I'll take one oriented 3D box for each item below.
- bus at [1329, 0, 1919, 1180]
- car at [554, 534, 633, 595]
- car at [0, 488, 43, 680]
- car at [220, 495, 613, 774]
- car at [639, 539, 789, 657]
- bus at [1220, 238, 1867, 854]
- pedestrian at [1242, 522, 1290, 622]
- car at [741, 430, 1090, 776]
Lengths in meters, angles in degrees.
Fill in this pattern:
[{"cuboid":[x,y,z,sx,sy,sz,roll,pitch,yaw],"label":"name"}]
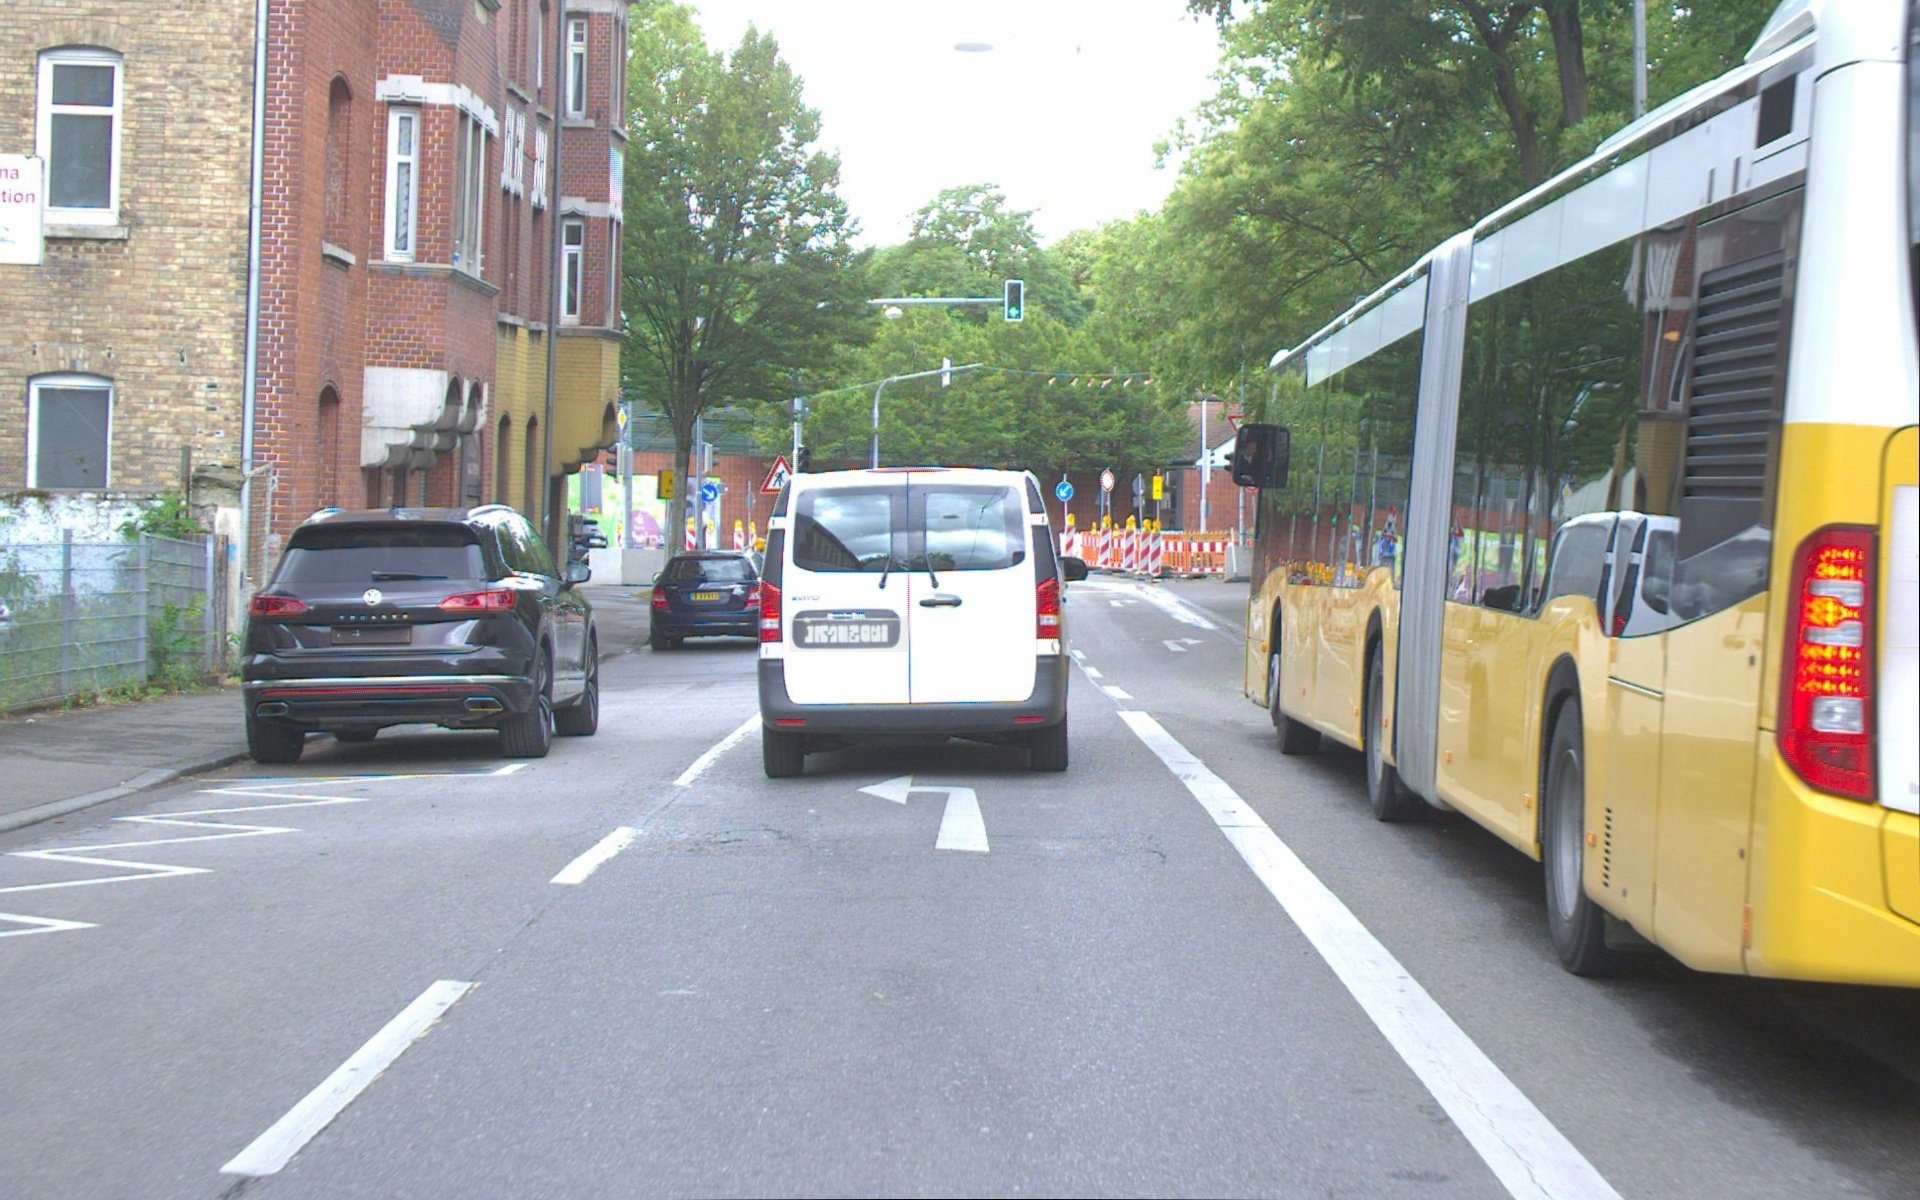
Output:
[{"cuboid":[3.309,-0.215,13.198,2.662,3.125,10.040,3,1,1],"label":"bus"},{"cuboid":[-10.258,-0.999,95.951,2.036,1.480,4.392,1,3,-8],"label":"car"},{"cuboid":[-9.805,-0.124,29.111,3.596,1.606,1.688,-1,1,1],"label":"car"},{"cuboid":[-3.680,0.164,24.144,1.954,1.728,4.774,1,1,0],"label":"car"},{"cuboid":[-3.559,-0.070,50.385,1.725,1.480,4.390,2,3,2],"label":"car"},{"cuboid":[3.433,-0.361,22.801,2.672,3.128,9.218,3,1,1],"label":"bus"},{"cuboid":[5.701,-0.519,64.107,0.779,1.825,0.727,-2,1,1],"label":"pedestrian"},{"cuboid":[-0.302,0.055,22.289,1.917,1.895,4.701,3,-1,-1],"label":"car"}]
